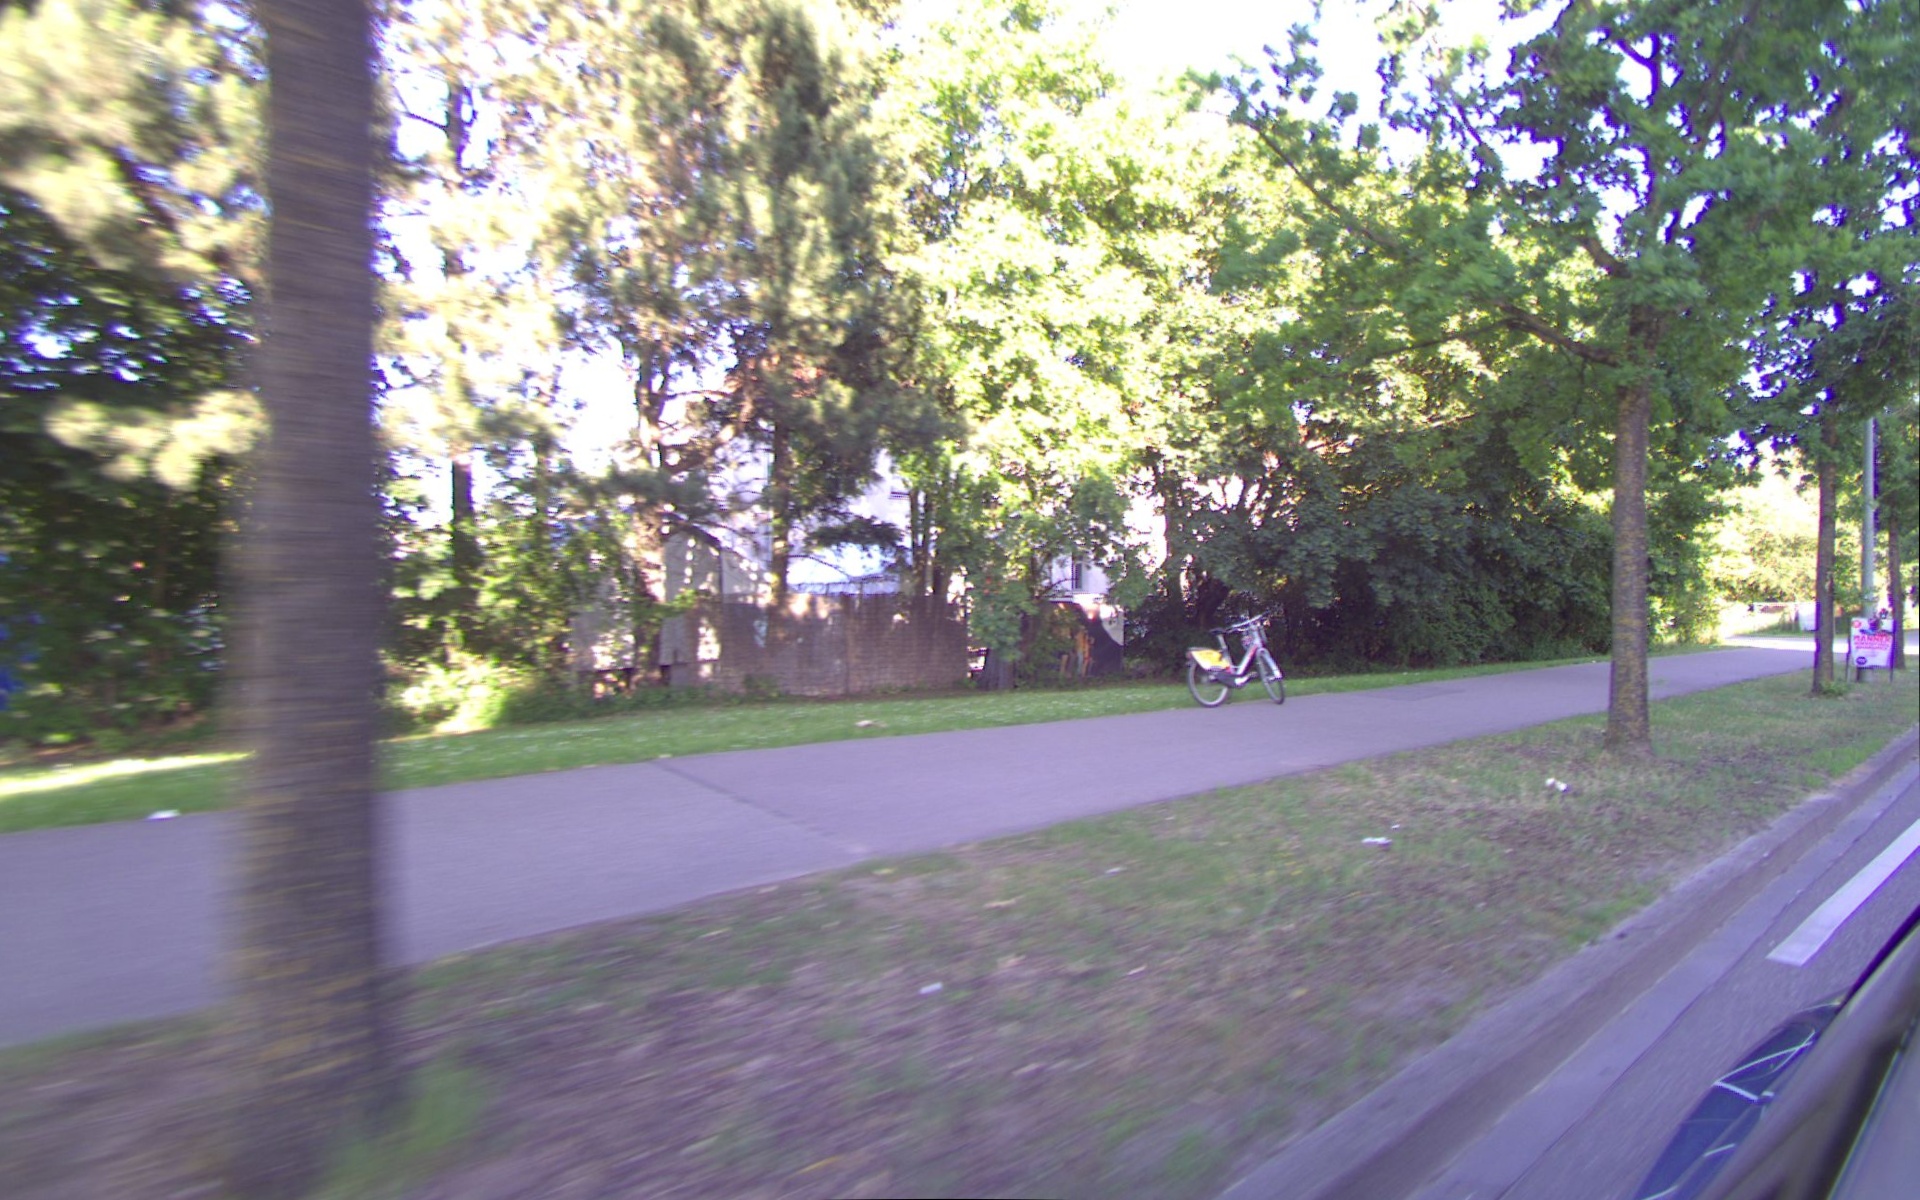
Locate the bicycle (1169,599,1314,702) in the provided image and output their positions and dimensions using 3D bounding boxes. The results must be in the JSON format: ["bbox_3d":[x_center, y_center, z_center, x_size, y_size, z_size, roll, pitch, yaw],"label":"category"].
[{"bbox_3d":[3.400,0.571,12.206,1.675,1.145,0.776,0,0,-33],"label":"bicycle"}]

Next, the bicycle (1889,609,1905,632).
[{"bbox_3d":[46.890,1.030,50.634,1.904,1.086,0.516,0,0,-45],"label":"bicycle"}]

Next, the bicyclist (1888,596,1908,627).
[{"bbox_3d":[46.906,0.581,50.616,1.019,1.541,0.685,0,0,-44],"label":"bicyclist"}]
